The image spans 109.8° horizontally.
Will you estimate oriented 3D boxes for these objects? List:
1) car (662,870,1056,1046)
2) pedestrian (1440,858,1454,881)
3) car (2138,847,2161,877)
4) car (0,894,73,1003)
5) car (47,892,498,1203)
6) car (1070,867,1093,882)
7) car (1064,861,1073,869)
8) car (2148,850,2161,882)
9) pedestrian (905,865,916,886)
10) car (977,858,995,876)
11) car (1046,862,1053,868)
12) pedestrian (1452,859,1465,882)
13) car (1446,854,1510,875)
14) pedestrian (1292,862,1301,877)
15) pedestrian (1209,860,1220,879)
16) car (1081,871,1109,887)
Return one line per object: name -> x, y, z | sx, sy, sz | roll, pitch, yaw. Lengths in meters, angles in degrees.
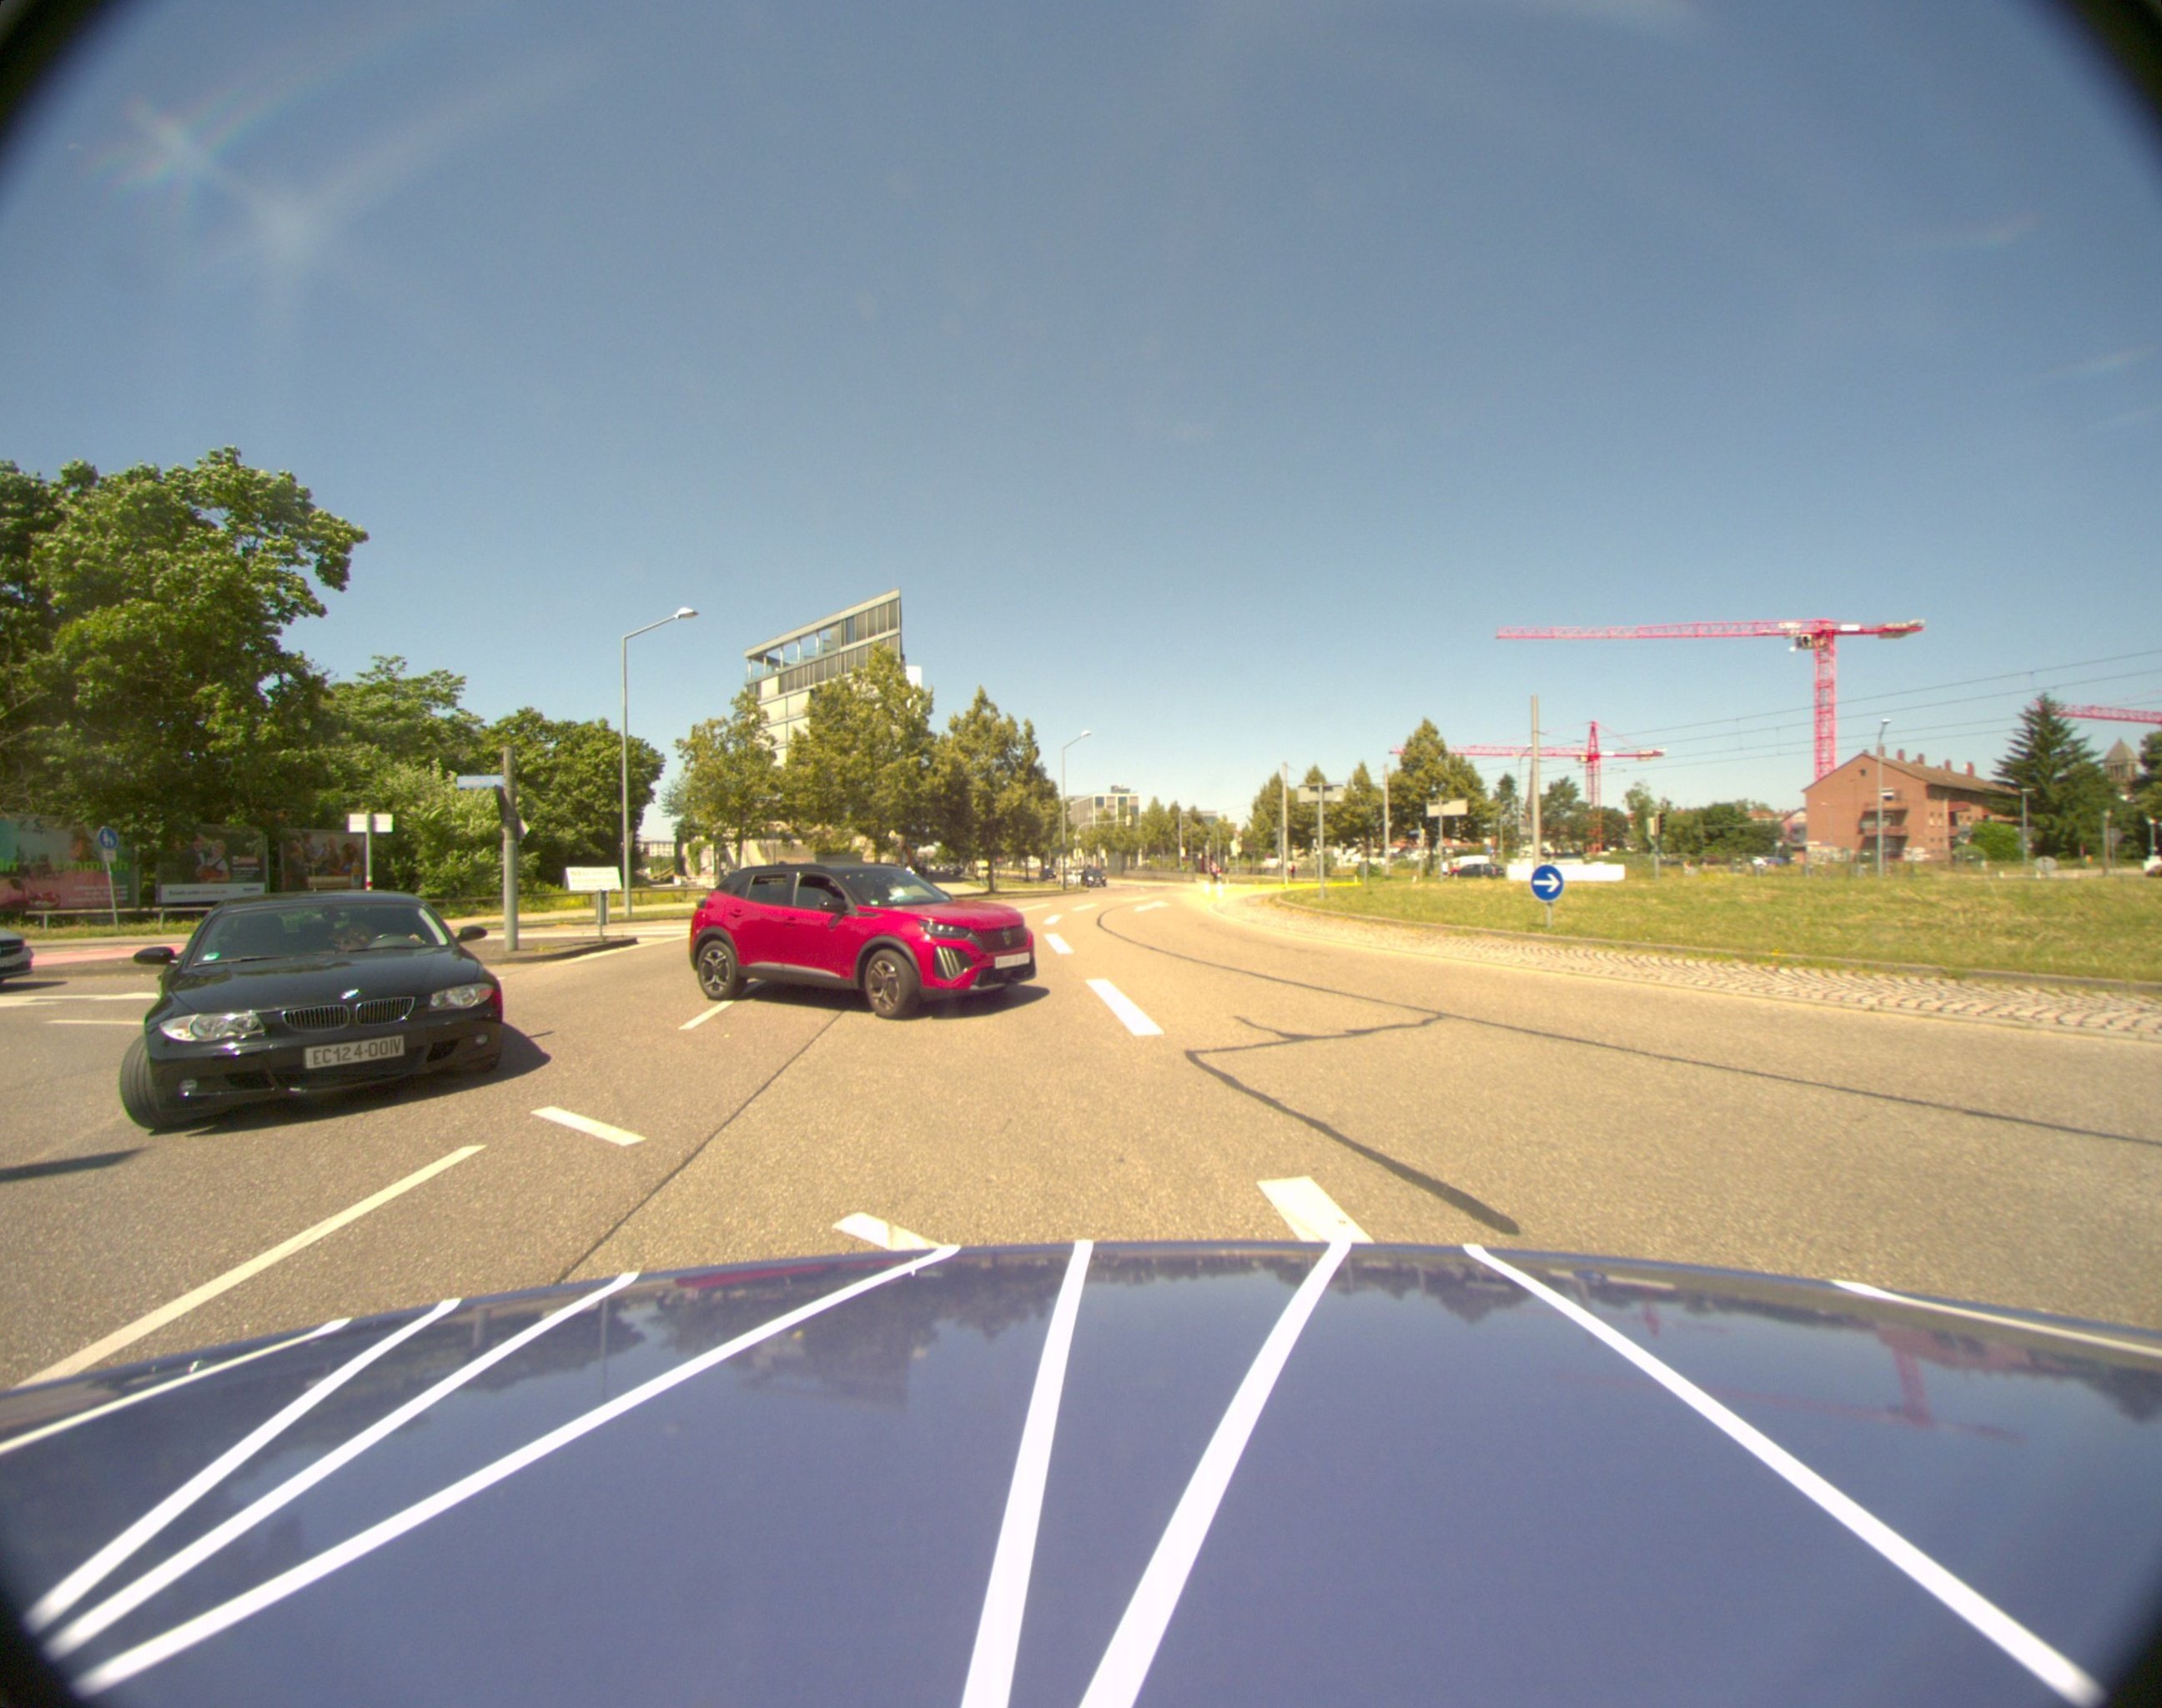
car -> -2.534, 0.976, 8.446 | 4.200, 1.518, 1.725 | -1, -1, 29
pedestrian -> 31.281, 1.306, 64.927 | 0.814, 1.888, 0.732 | 0, 2, -1
car -> 73.955, 0.533, 51.469 | 4.005, 2.002, 1.995 | 0, 1, -25
car -> -16.557, 1.337, 9.779 | 4.002, 1.420, 1.861 | -1, 1, -13
car -> -6.056, 1.097, 5.950 | 3.989, 1.432, 1.806 | -1, 1, 45
car -> -0.003, 1.939, 71.676 | 1.577, 1.218, 3.319 | 0, 1, -10
car -> -3.554, 3.074, 215.854 | 2.001, 2.002, 3.896 | 0, 1, -14
car -> 50.880, 0.557, 33.803 | 1.834, 1.395, 3.654 | -1, 1, -25
pedestrian -> -15.050, 1.927, 67.217 | 0.834, 1.858, 0.611 | 0, 2, 1
car -> -13.417, 1.804, 107.437 | 2.001, 2.493, 3.995 | -1, 0, -15
car -> -10.511, 3.647, 255.559 | 2.000, 2.002, 3.996 | 0, 1, -9
pedestrian -> 32.265, 1.407, 64.932 | 0.746, 2.002, 0.732 | 0, 2, -1
car -> 31.014, 0.795, 59.443 | 2.004, 1.456, 3.988 | -1, 2, -43
pedestrian -> 19.884, 1.420, 70.127 | 0.597, 1.398, 0.543 | -1, 0, 1
pedestrian -> 11.278, 1.306, 64.101 | 0.760, 1.630, 0.781 | 0, 1, 0
car -> 1.196, 2.143, 66.095 | 1.741, 1.205, 3.562 | 0, 1, -10
